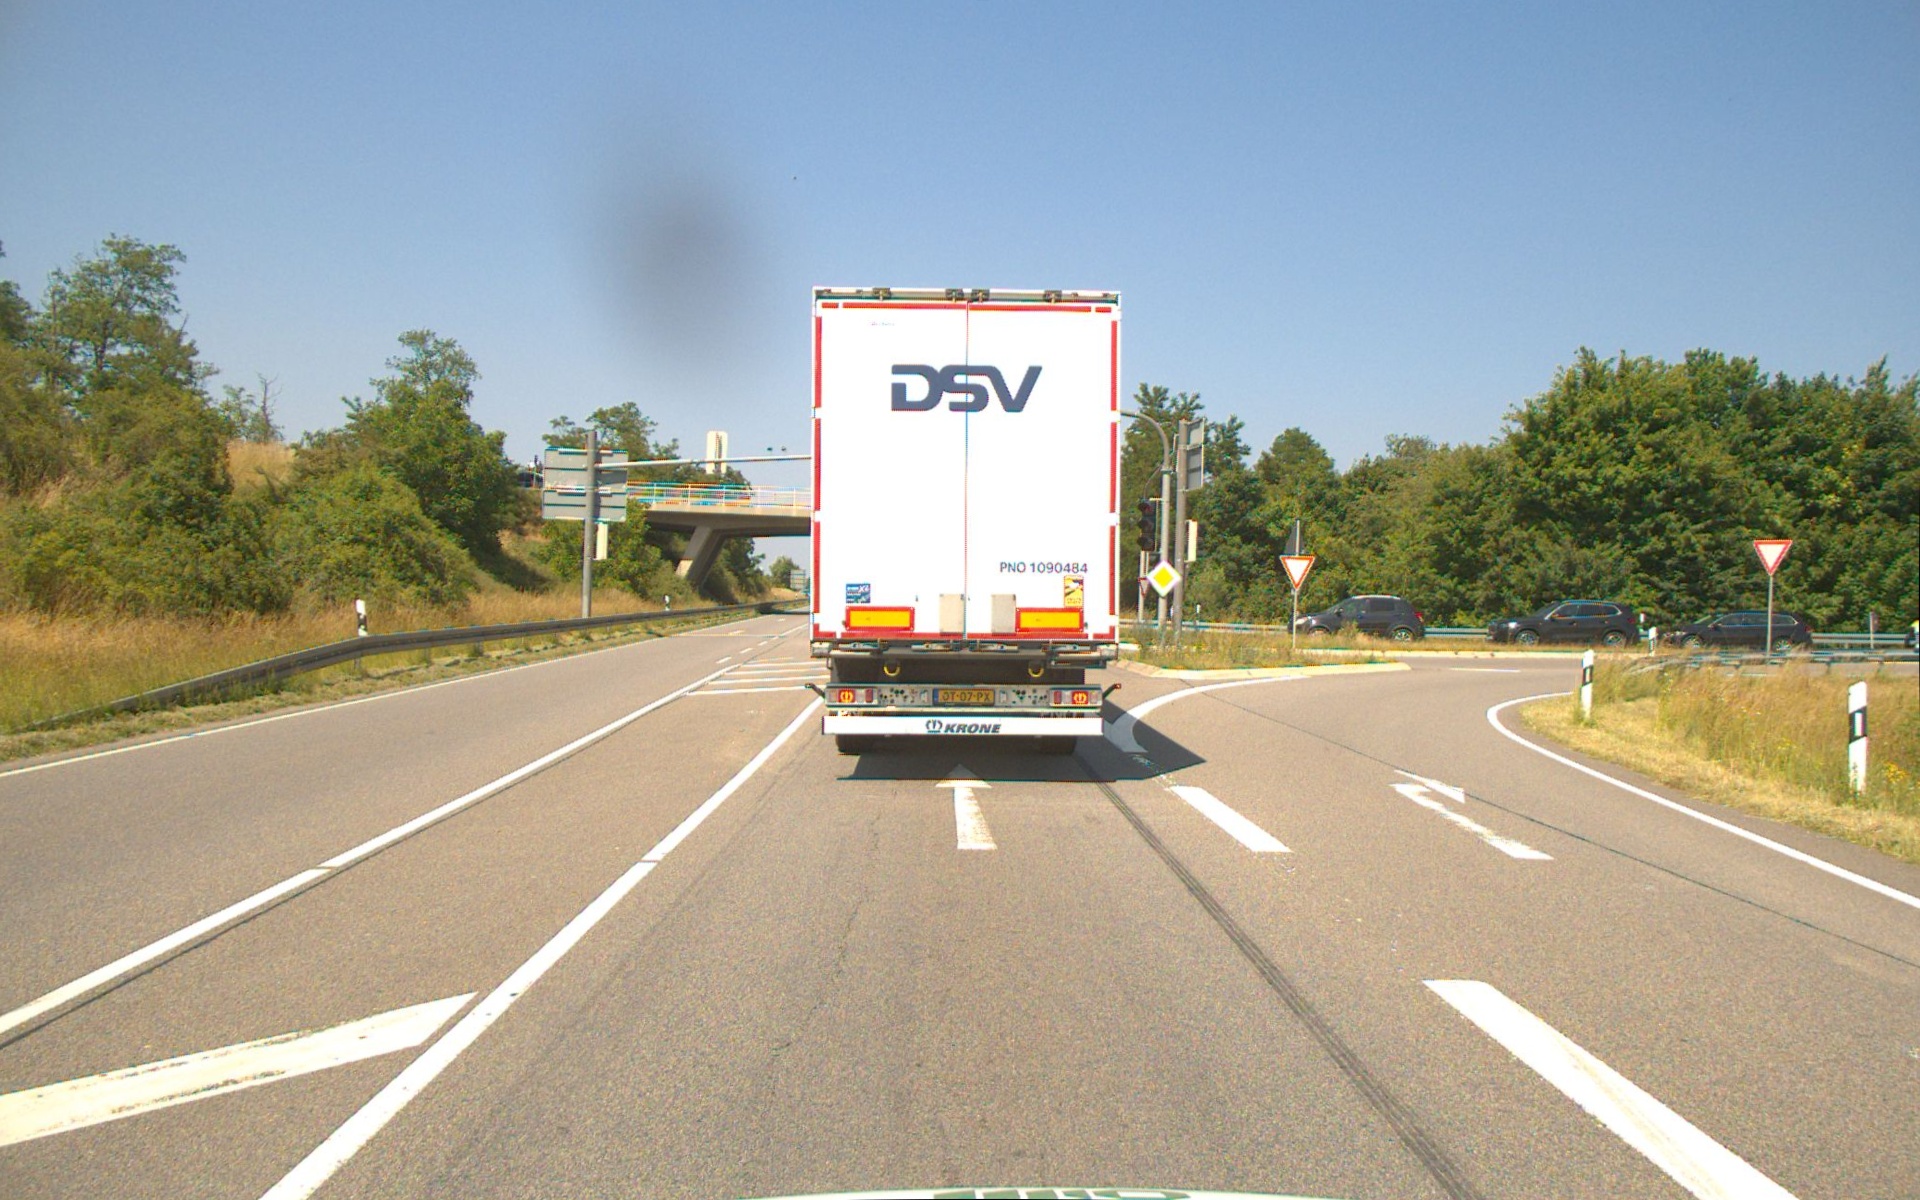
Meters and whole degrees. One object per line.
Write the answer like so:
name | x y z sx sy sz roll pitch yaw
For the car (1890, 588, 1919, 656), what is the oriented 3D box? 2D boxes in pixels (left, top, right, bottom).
car | 31.460 0.691 50.305 5.213 2.049 2.000 1 -1 1

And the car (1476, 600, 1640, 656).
car | 18.249 0.839 50.596 4.393 1.626 1.768 1 -1 2

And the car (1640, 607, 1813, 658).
car | 24.057 1.012 52.038 4.583 1.540 1.854 1 -1 6

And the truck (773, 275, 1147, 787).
truck | -0.078 -0.534 18.018 2.927 4.011 9.873 1 0 -1

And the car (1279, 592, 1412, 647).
car | 12.215 0.610 52.583 3.901 1.669 1.842 1 -1 5
